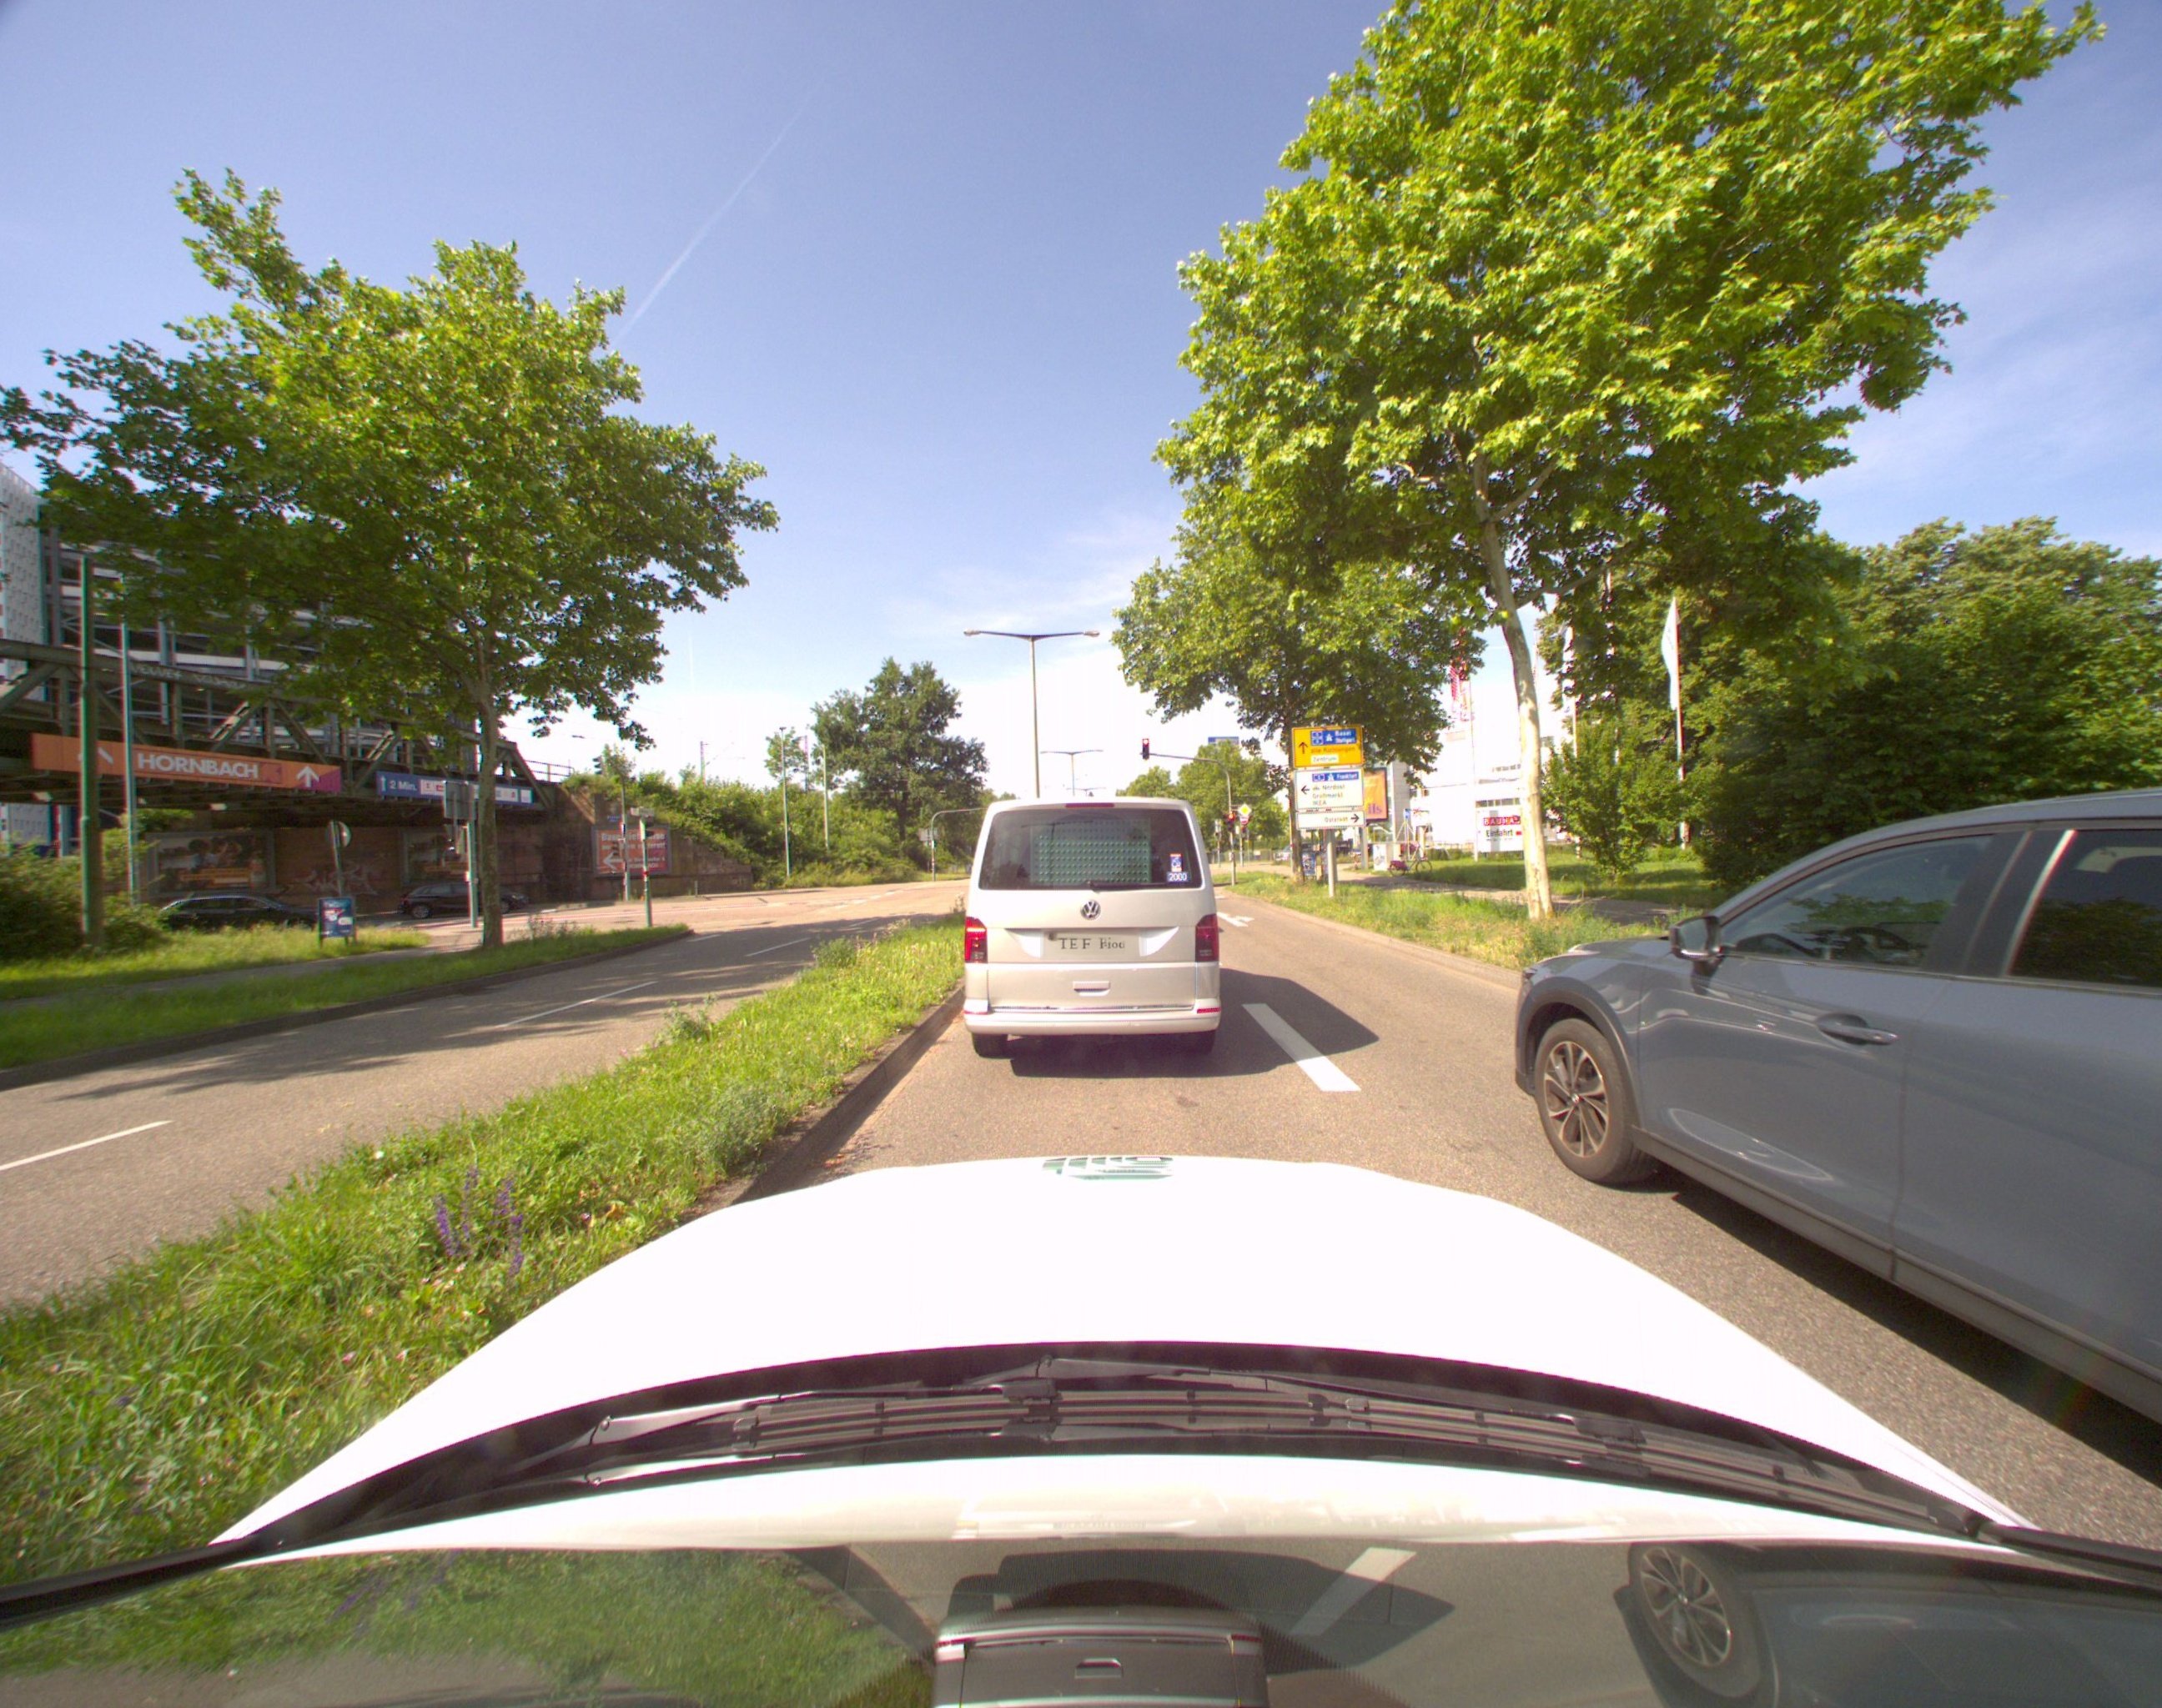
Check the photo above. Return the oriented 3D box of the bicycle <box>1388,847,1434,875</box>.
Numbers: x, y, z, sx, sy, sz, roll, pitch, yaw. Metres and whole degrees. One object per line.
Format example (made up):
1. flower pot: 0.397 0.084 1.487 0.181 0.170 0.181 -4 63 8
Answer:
1. bicycle: 14.194 0.300 35.071 1.771 1.108 0.506 -4 -1 20

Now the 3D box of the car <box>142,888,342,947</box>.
1. car: -25.491 1.876 24.971 3.959 1.481 1.804 -1 -1 -34

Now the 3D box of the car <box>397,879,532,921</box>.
1. car: -25.614 1.879 34.060 4.353 1.395 1.752 -3 0 -35

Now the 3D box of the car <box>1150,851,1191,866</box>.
1. car: 9.873 0.527 90.270 1.791 1.444 4.573 -2 0 -39

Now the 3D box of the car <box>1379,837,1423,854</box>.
1. car: 31.989 -0.844 81.465 4.646 1.444 1.762 -3 0 -35

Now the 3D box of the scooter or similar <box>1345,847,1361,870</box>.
1. scooter or similar: 14.110 0.238 42.210 0.423 1.126 1.124 -3 0 1

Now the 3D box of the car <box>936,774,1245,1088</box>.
1. car: 0.138 0.504 7.765 1.934 1.971 5.024 -2 0 2

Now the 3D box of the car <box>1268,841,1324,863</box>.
1. car: 18.117 -0.183 68.522 4.646 1.689 1.895 -3 0 -35

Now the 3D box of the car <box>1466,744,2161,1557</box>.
1. car: 3.095 0.599 2.501 1.759 1.659 4.497 -1 0 1
